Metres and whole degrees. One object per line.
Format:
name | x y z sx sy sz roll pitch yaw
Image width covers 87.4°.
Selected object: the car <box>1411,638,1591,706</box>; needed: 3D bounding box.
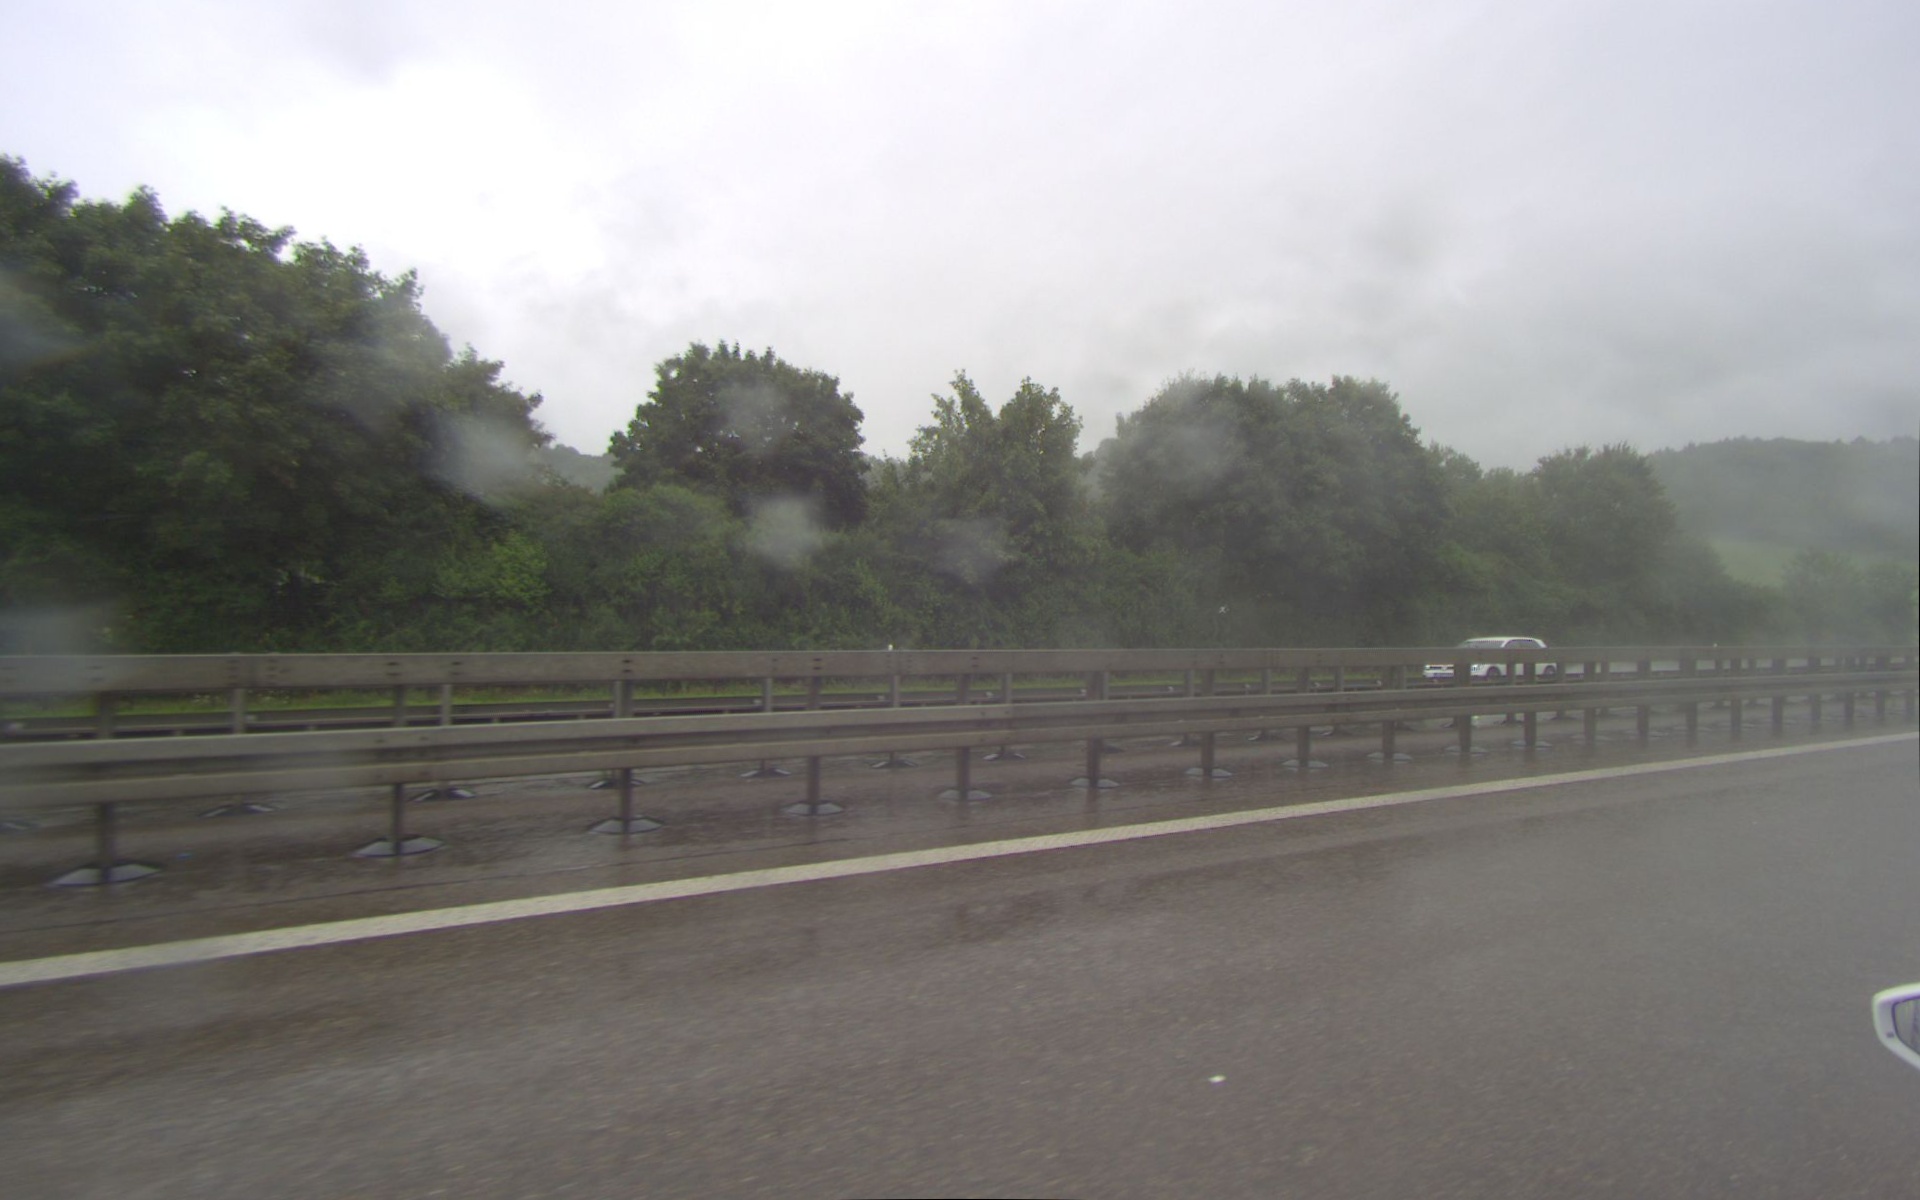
car | 15.033 1.913 27.847 5.242 1.714 1.984 1 -2 -30
